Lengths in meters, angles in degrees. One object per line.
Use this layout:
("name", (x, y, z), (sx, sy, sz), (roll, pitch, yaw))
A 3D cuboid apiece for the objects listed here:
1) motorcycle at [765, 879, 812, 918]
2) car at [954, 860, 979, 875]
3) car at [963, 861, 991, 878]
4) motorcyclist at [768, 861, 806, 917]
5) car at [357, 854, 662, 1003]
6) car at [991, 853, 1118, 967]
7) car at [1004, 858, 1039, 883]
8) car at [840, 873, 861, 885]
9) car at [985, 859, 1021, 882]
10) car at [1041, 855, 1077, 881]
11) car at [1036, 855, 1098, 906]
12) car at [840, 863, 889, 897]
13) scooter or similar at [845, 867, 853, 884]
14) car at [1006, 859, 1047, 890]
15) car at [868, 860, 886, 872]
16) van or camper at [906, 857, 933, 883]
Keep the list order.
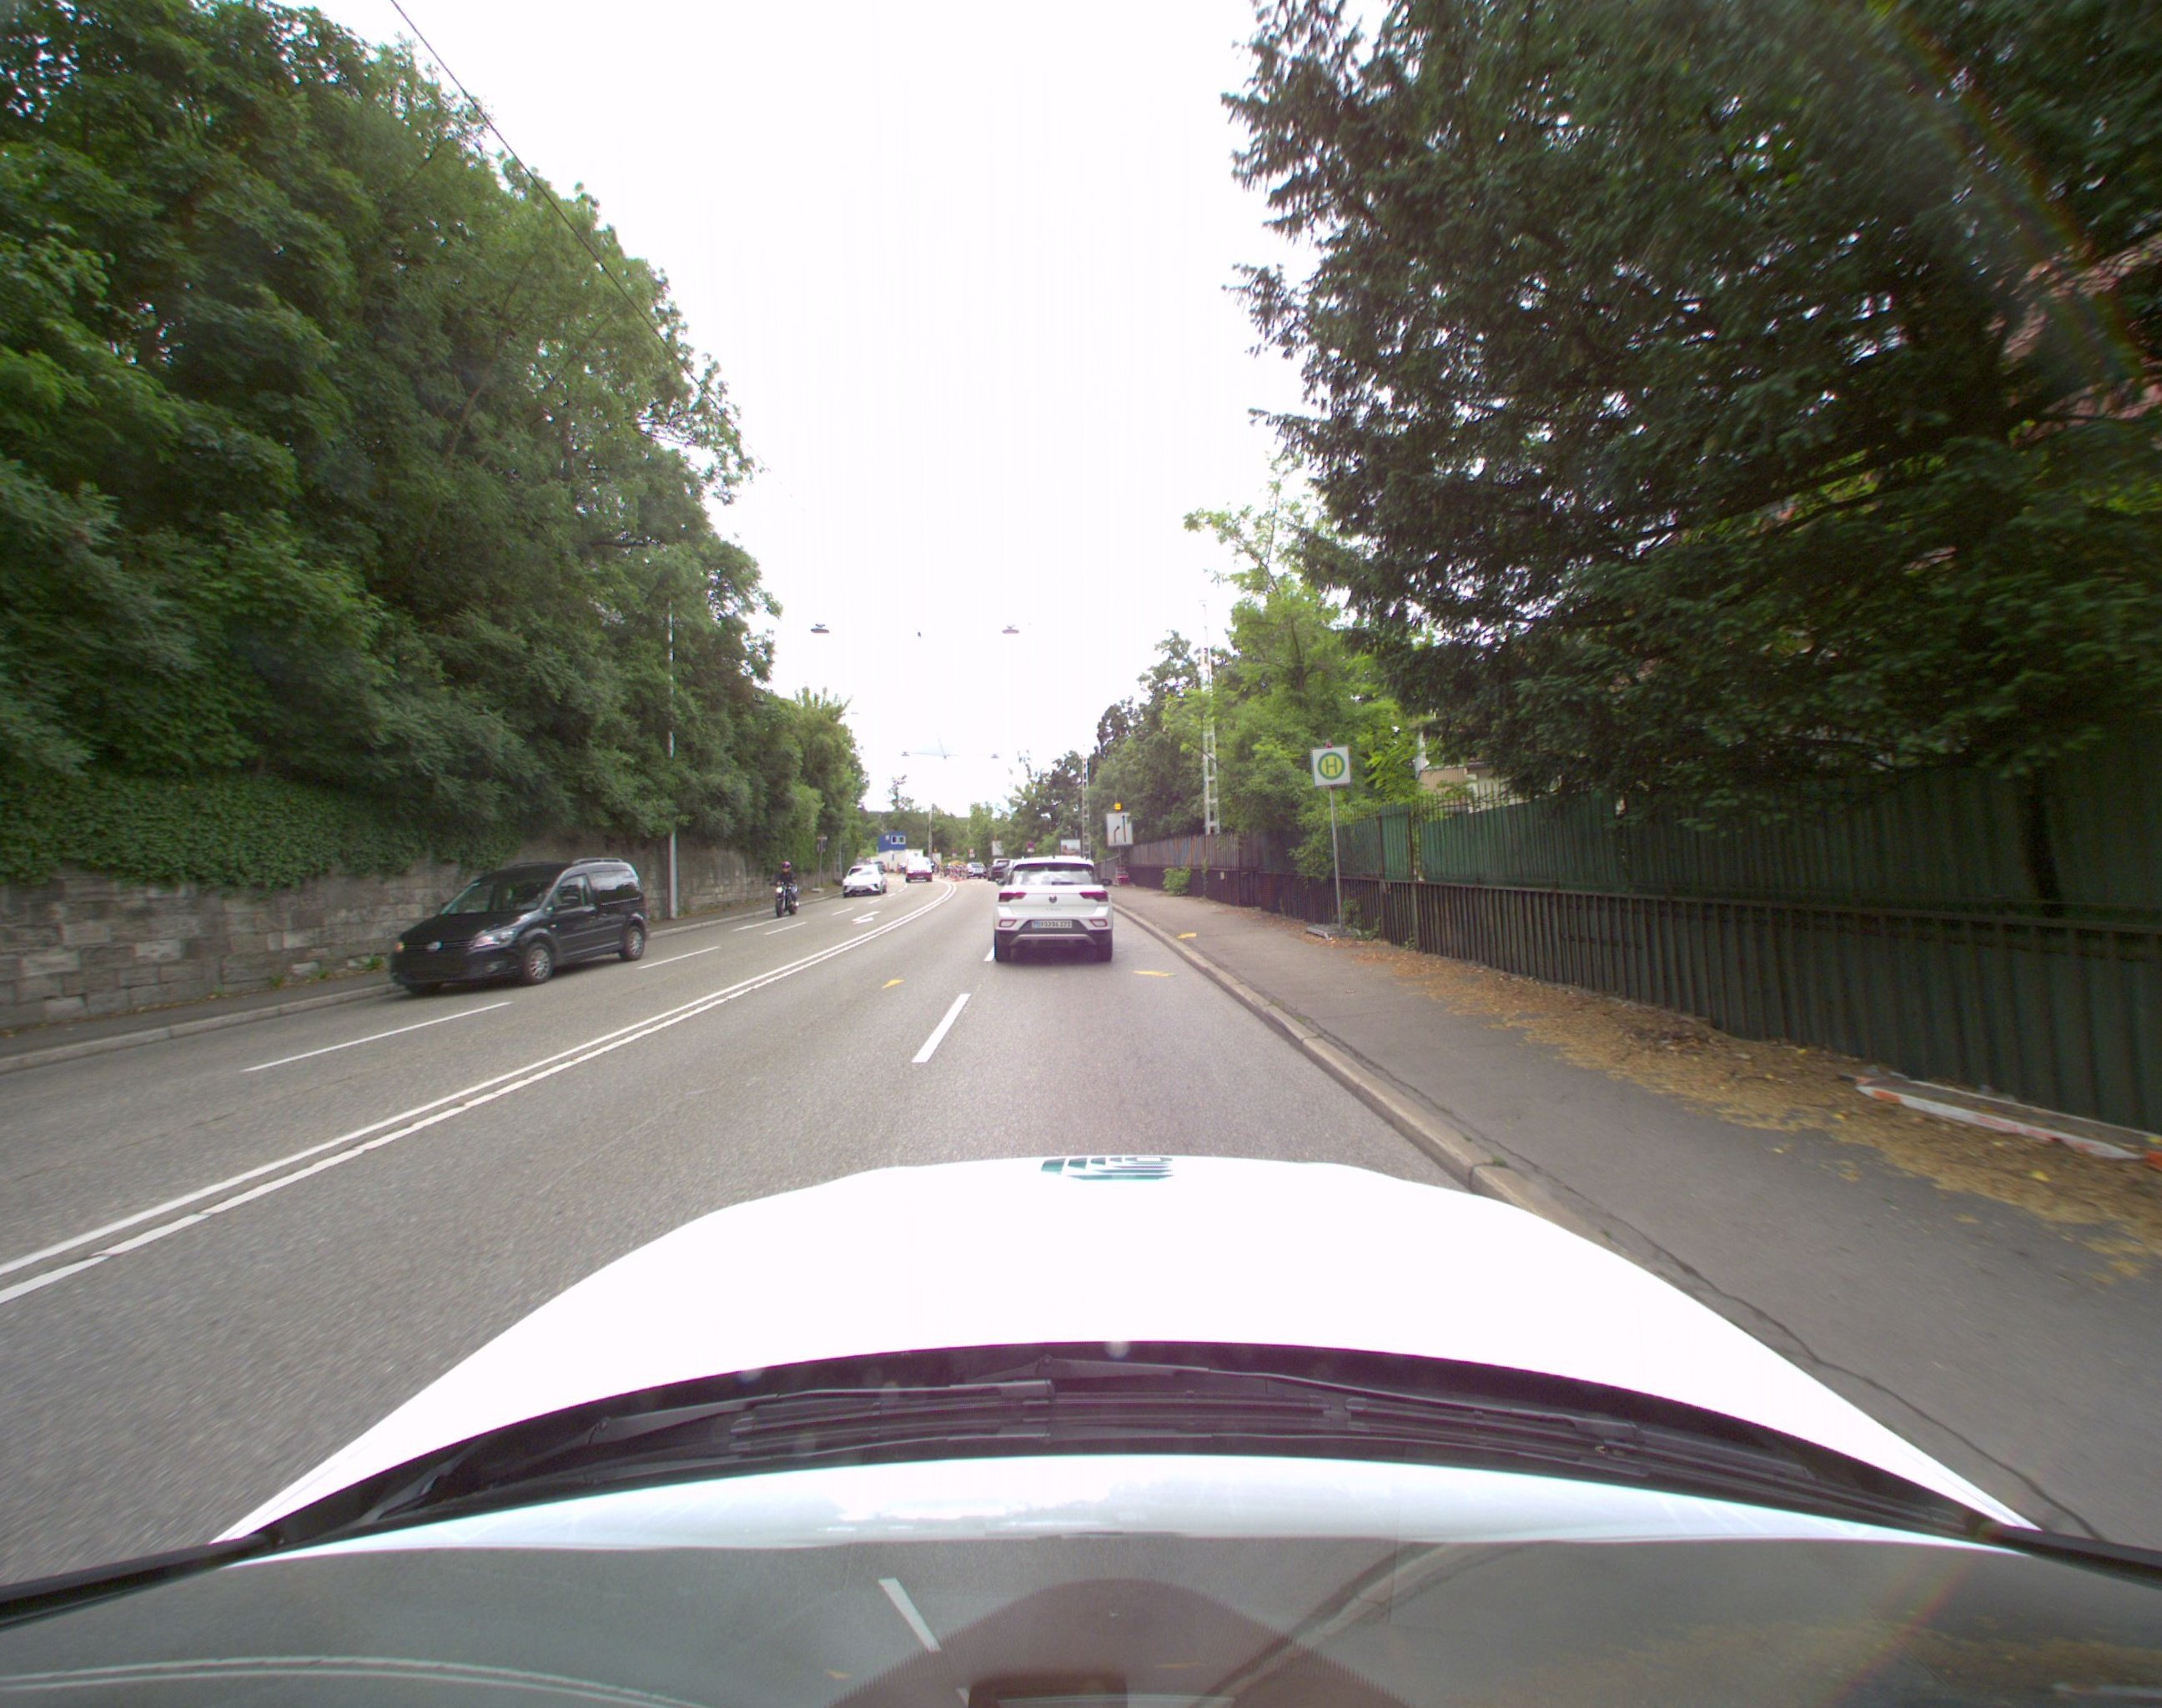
("motorcycle", (-9.305, 1.402, 25.994), (0.648, 1.073, 2.306), (-4, 0, -2))
("car", (-11.700, 1.381, 83.070), (1.997, 1.450, 4.128), (-2, -1, -15))
("car", (-9.431, 1.398, 73.592), (1.997, 1.450, 4.129), (-2, -1, -15))
("motorcyclist", (-9.362, 1.097, 25.971), (0.647, 1.705, 1.337), (-4, 0, -2))
("car", (-8.705, 0.985, 12.974), (1.738, 1.845, 4.248), (-4, 0, -1))
("car", (-0.490, 0.795, 13.230), (1.754, 1.556, 3.789), (-1, -1, -4))
("car", (-3.799, 1.057, 51.420), (1.991, 1.414, 4.141), (-3, -1, -6))
("car", (-28.972, 3.126, 102.382), (1.905, 1.382, 3.966), (-2, 0, -25))
("car", (-5.871, 1.188, 60.817), (1.997, 1.556, 4.129), (-1, 0, -15))
("car", (-1.482, 0.866, 53.072), (1.765, 1.522, 4.380), (-3, 0, -8))
("car", (-0.558, 0.860, 28.051), (1.756, 1.609, 3.786), (-1, -1, -7))
("car", (-10.806, 1.271, 40.927), (1.781, 1.466, 4.090), (-4, 0, -8))
("scooter or similar", (-16.603, 1.541, 58.269), (0.539, 1.205, 1.272), (1, -1, -17))
("car", (-2.769, 1.009, 40.884), (1.757, 1.471, 3.784), (-1, -1, -9))
("car", (-29.163, 1.719, 116.270), (1.849, 1.699, 3.968), (-2, 0, -24))
("van or camper", (-12.651, 1.214, 63.977), (1.890, 1.878, 4.749), (-3, 0, -10))
